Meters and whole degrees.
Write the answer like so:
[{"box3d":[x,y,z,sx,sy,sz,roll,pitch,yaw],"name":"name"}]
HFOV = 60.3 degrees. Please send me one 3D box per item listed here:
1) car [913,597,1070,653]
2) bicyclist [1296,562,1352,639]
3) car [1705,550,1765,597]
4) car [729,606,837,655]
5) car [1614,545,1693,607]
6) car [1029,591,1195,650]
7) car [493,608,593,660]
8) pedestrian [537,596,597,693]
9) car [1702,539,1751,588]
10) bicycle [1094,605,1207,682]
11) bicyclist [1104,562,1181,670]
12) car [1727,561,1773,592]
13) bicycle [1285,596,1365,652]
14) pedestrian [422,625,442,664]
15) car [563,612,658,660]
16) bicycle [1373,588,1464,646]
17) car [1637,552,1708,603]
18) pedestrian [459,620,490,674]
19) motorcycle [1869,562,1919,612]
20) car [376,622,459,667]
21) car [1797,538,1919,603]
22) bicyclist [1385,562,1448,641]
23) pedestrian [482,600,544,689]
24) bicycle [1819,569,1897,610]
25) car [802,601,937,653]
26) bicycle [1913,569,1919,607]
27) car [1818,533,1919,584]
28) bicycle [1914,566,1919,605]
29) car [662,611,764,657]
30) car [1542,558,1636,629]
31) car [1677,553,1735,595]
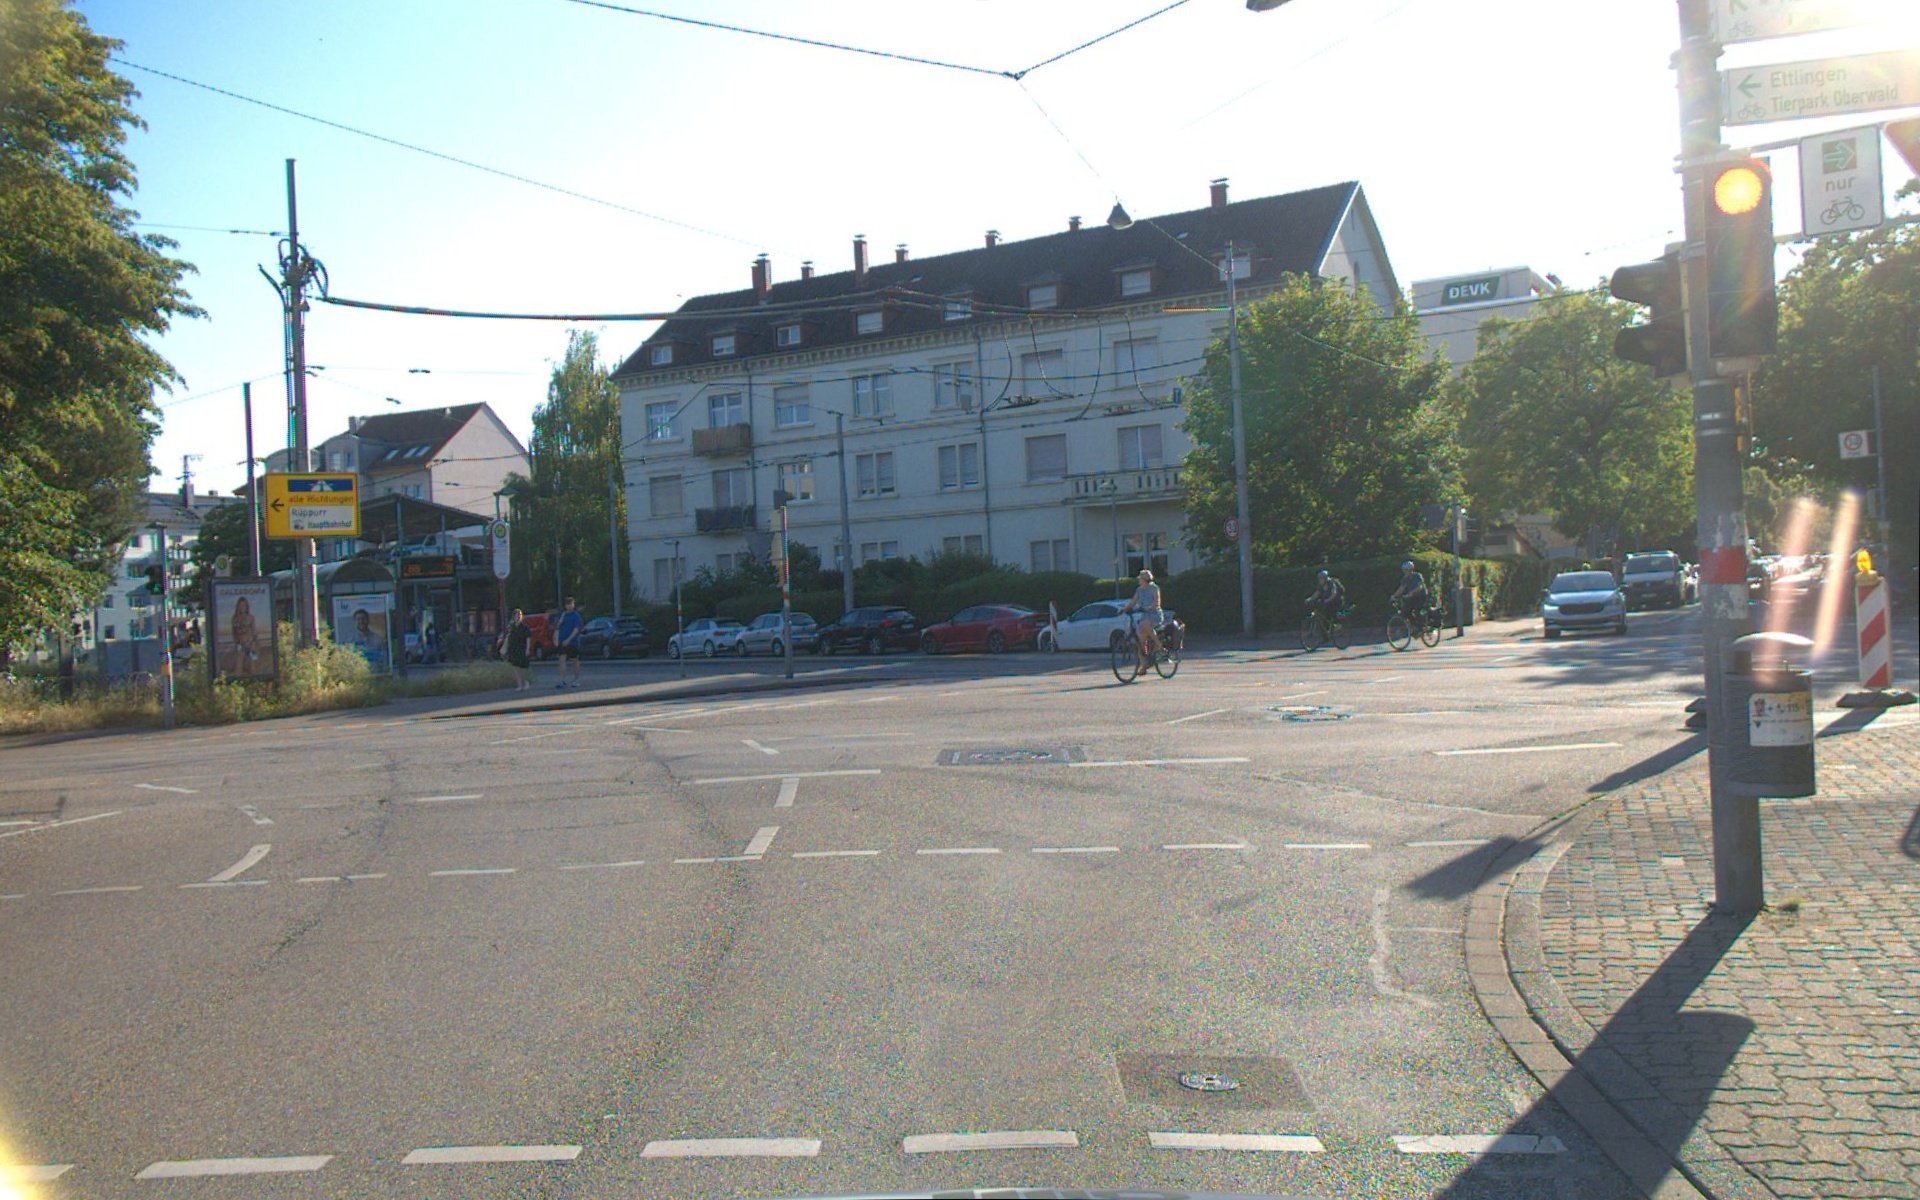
[{"box3d":[0.916,0.767,50.126,4.625,1.400,1.974,-3,2,44],"name":"car"},{"box3d":[7.728,0.009,35.071,0.650,1.558,1.030,-3,0,44],"name":"bicyclist"},{"box3d":[28.818,-1.008,61.443,1.856,1.591,4.389,-3,0,26],"name":"car"},{"box3d":[-6.208,1.083,57.769,1.970,1.472,3.663,-6,2,-41],"name":"car"},{"box3d":[25.351,-0.870,60.337,2.308,2.049,5.306,-3,0,26],"name":"car"},{"box3d":[4.202,0.590,46.182,1.916,1.400,4.426,-6,2,-43],"name":"car"},{"box3d":[-18.159,1.518,71.952,2.039,1.995,5.073,-6,2,-41],"name":"car"},{"box3d":[-8.271,0.925,34.854,0.893,1.958,1.067,-3,0,0],"name":"pedestrian"},{"box3d":[43.116,-2.033,92.945,2.308,2.558,5.306,-3,0,26],"name":"car"},{"box3d":[3.001,0.663,25.862,0.652,1.087,2.006,-3,0,43],"name":"bicycle"},{"box3d":[2.850,0.244,25.854,0.851,1.633,0.764,-3,0,-44],"name":"bicyclist"},{"box3d":[51.026,-1.535,106.765,2.310,1.826,5.301,-3,0,29],"name":"car"},{"box3d":[7.739,0.502,35.053,0.652,1.087,2.005,-3,0,44],"name":"bicycle"},{"box3d":[-21.103,1.788,66.120,0.560,1.527,0.672,-3,0,-29],"name":"pedestrian"},{"box3d":[-14.189,1.475,66.972,1.830,1.696,4.304,-6,2,-41],"name":"car"},{"box3d":[9.371,0.342,33.749,1.997,1.087,0.655,-3,0,-36],"name":"bicycle"},{"box3d":[28.352,-0.918,65.762,2.308,1.826,5.306,-3,0,26],"name":"car"},{"box3d":[-19.157,1.837,65.203,0.914,2.048,0.759,-2,1,-37],"name":"pedestrian"},{"box3d":[22.937,-0.329,39.594,1.912,1.128,0.837,-3,0,24],"name":"motorcycle"},{"box3d":[-27.187,2.229,82.788,2.039,1.995,5.073,-6,2,-41],"name":"car"},{"box3d":[31.345,-1.018,55.671,5.510,1.958,2.360,-3,-2,26],"name":"car"},{"box3d":[9.301,0.030,33.691,1.026,1.558,0.689,-3,0,-36],"name":"bicyclist"},{"box3d":[-9.246,0.906,34.225,0.893,1.777,1.067,-3,0,0],"name":"pedestrian"},{"box3d":[22.776,-0.263,41.983,1.691,0.949,0.671,-3,0,29],"name":"bicycle"},{"box3d":[-3.028,0.909,54.573,1.970,1.472,4.634,-6,2,-41],"name":"car"},{"box3d":[24.735,-0.344,41.183,1.691,0.949,0.561,-3,0,29],"name":"bicycle"},{"box3d":[40.819,-1.828,73.121,4.990,1.958,2.360,-3,-2,26],"name":"car"},{"box3d":[24.375,-0.399,40.505,1.691,0.949,0.561,-3,0,29],"name":"bicycle"},{"box3d":[-9.172,1.271,61.215,1.830,1.472,3.899,-6,2,-41],"name":"car"},{"box3d":[14.257,-0.137,37.637,1.851,1.512,4.001,1,0,19],"name":"car"},{"box3d":[35.645,-1.249,78.973,2.308,1.826,5.306,-3,0,26],"name":"car"}]
